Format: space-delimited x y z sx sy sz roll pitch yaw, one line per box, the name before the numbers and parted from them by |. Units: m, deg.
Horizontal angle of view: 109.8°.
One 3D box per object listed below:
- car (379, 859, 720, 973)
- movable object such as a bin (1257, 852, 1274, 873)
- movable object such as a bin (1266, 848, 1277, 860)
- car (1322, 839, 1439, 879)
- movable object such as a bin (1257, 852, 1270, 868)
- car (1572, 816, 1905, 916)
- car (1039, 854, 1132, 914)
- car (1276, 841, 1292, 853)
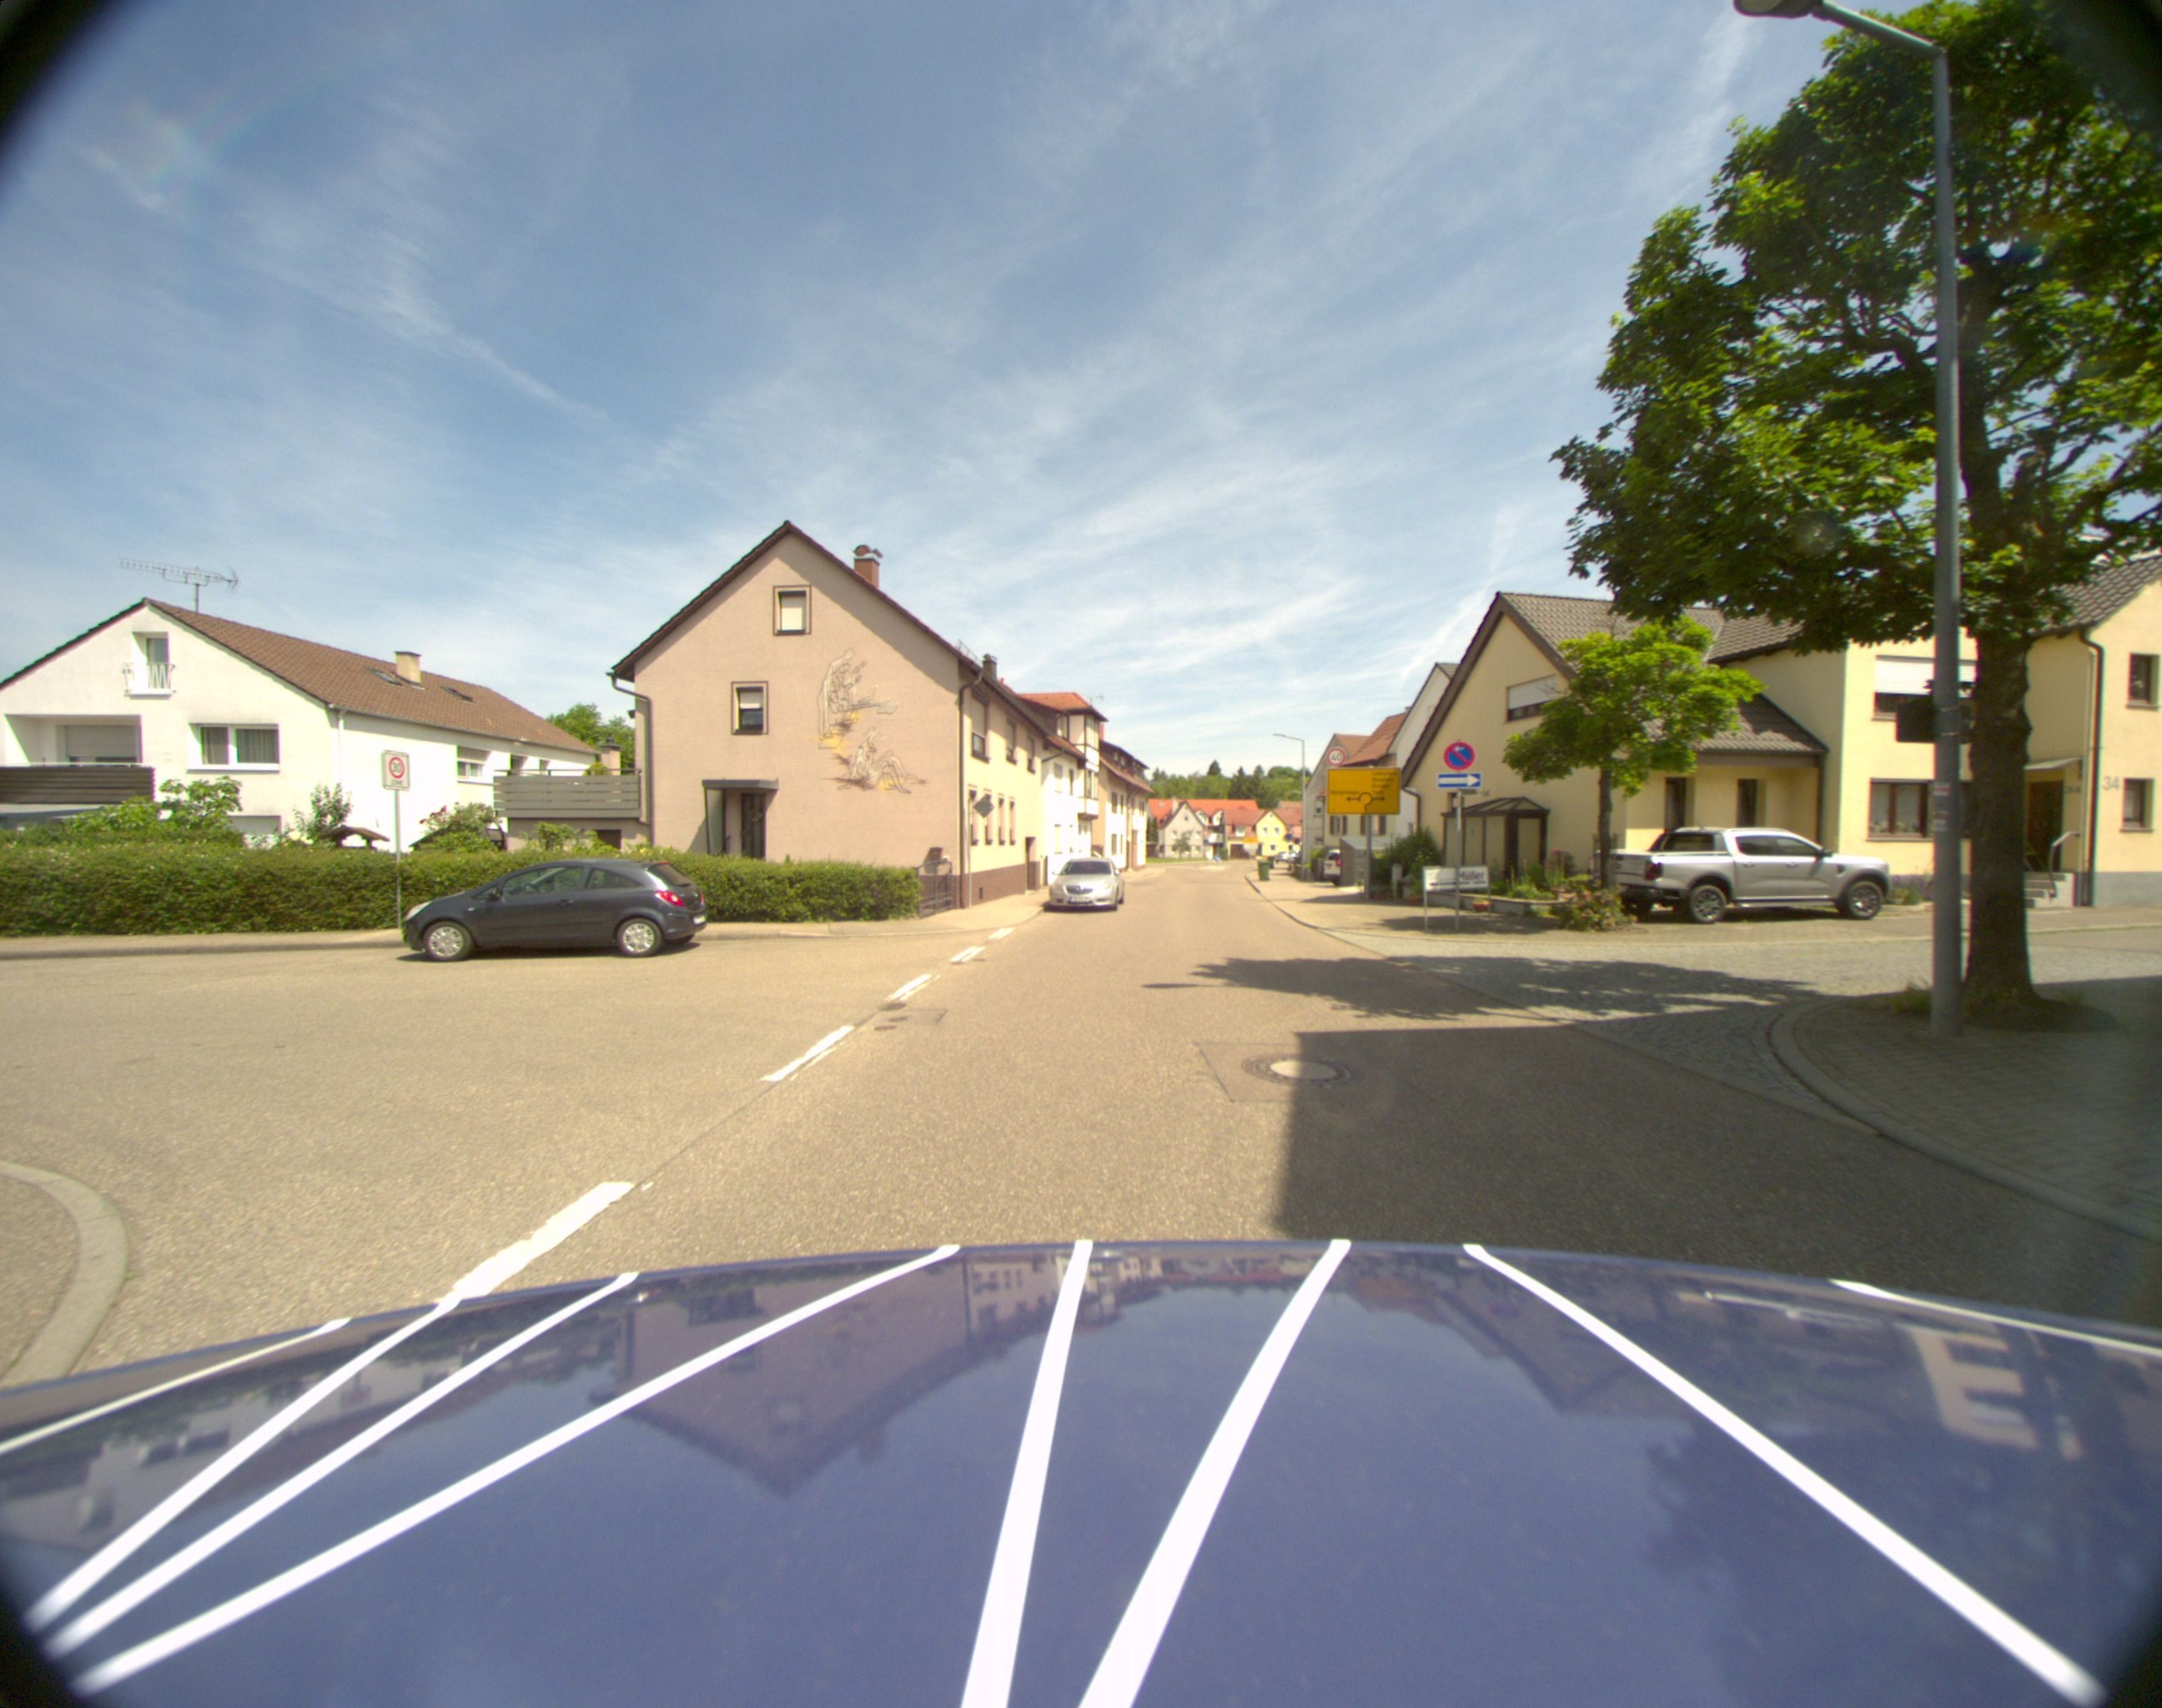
car | -7.885 0.859 11.689 3.817 1.480 1.888 -1 1 -10
movable object such as a bin | 9.806 0.463 40.379 0.827 1.071 0.819 -1 1 11
movable object such as a bin | 16.874 0.021 67.173 0.809 1.039 0.828 0 1 21
car | 13.191 0.194 33.655 4.413 1.613 1.999 -1 2 -2
movable object such as a bin | 12.279 0.376 51.052 0.793 1.051 0.651 0 1 7
car | 13.283 0.201 15.590 5.120 1.885 2.174 0 1 -4
car | 0.255 0.762 21.153 1.788 1.433 4.340 -1 1 11
car | 26.209 -0.894 98.253 1.958 1.478 4.463 0 1 15
